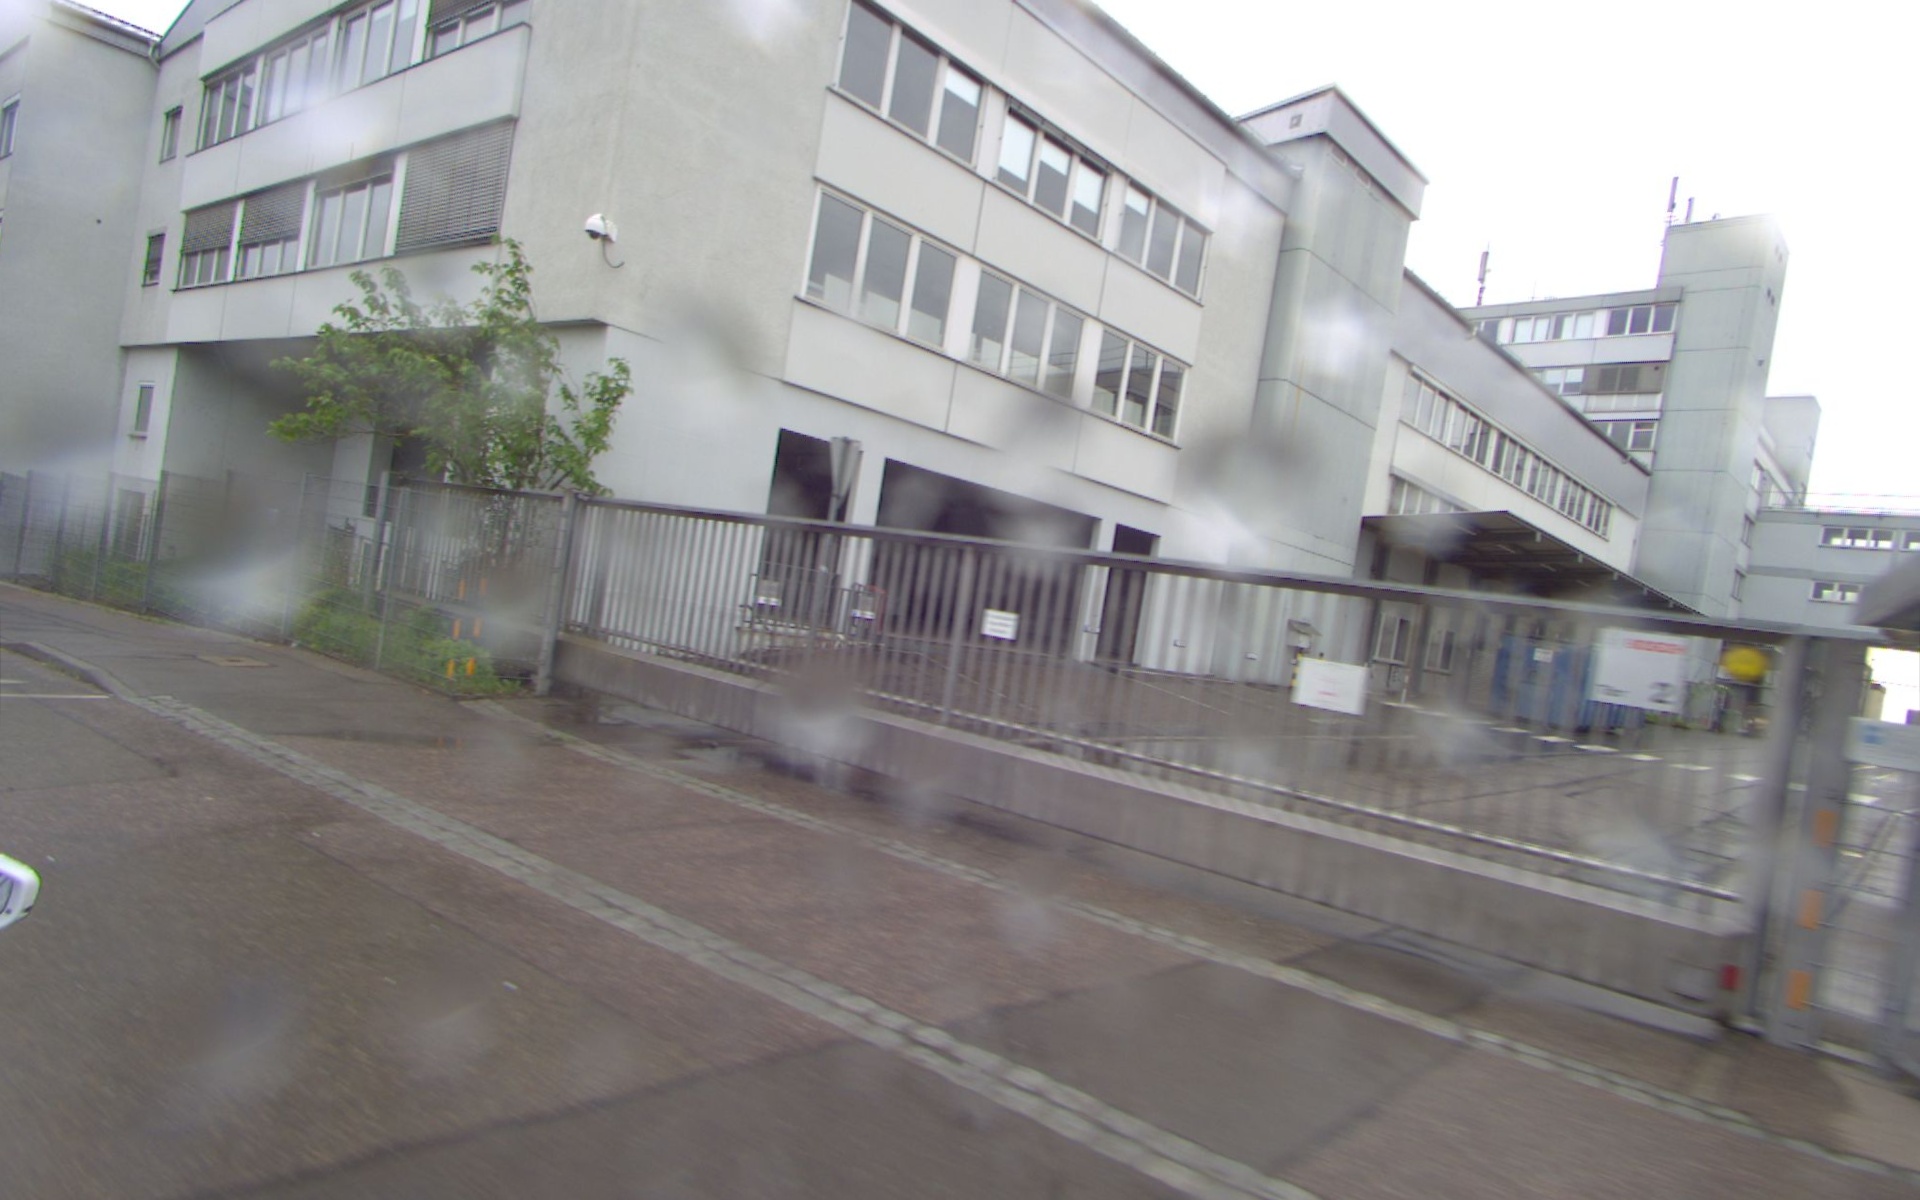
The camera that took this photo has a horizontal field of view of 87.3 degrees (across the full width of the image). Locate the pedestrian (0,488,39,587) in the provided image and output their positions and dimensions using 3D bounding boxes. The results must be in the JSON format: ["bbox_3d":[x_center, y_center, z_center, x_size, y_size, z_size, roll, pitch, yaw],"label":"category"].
[{"bbox_3d":[-18.010,-1.208,18.664,1.014,1.781,1.024,8,1,33],"label":"pedestrian"}]
